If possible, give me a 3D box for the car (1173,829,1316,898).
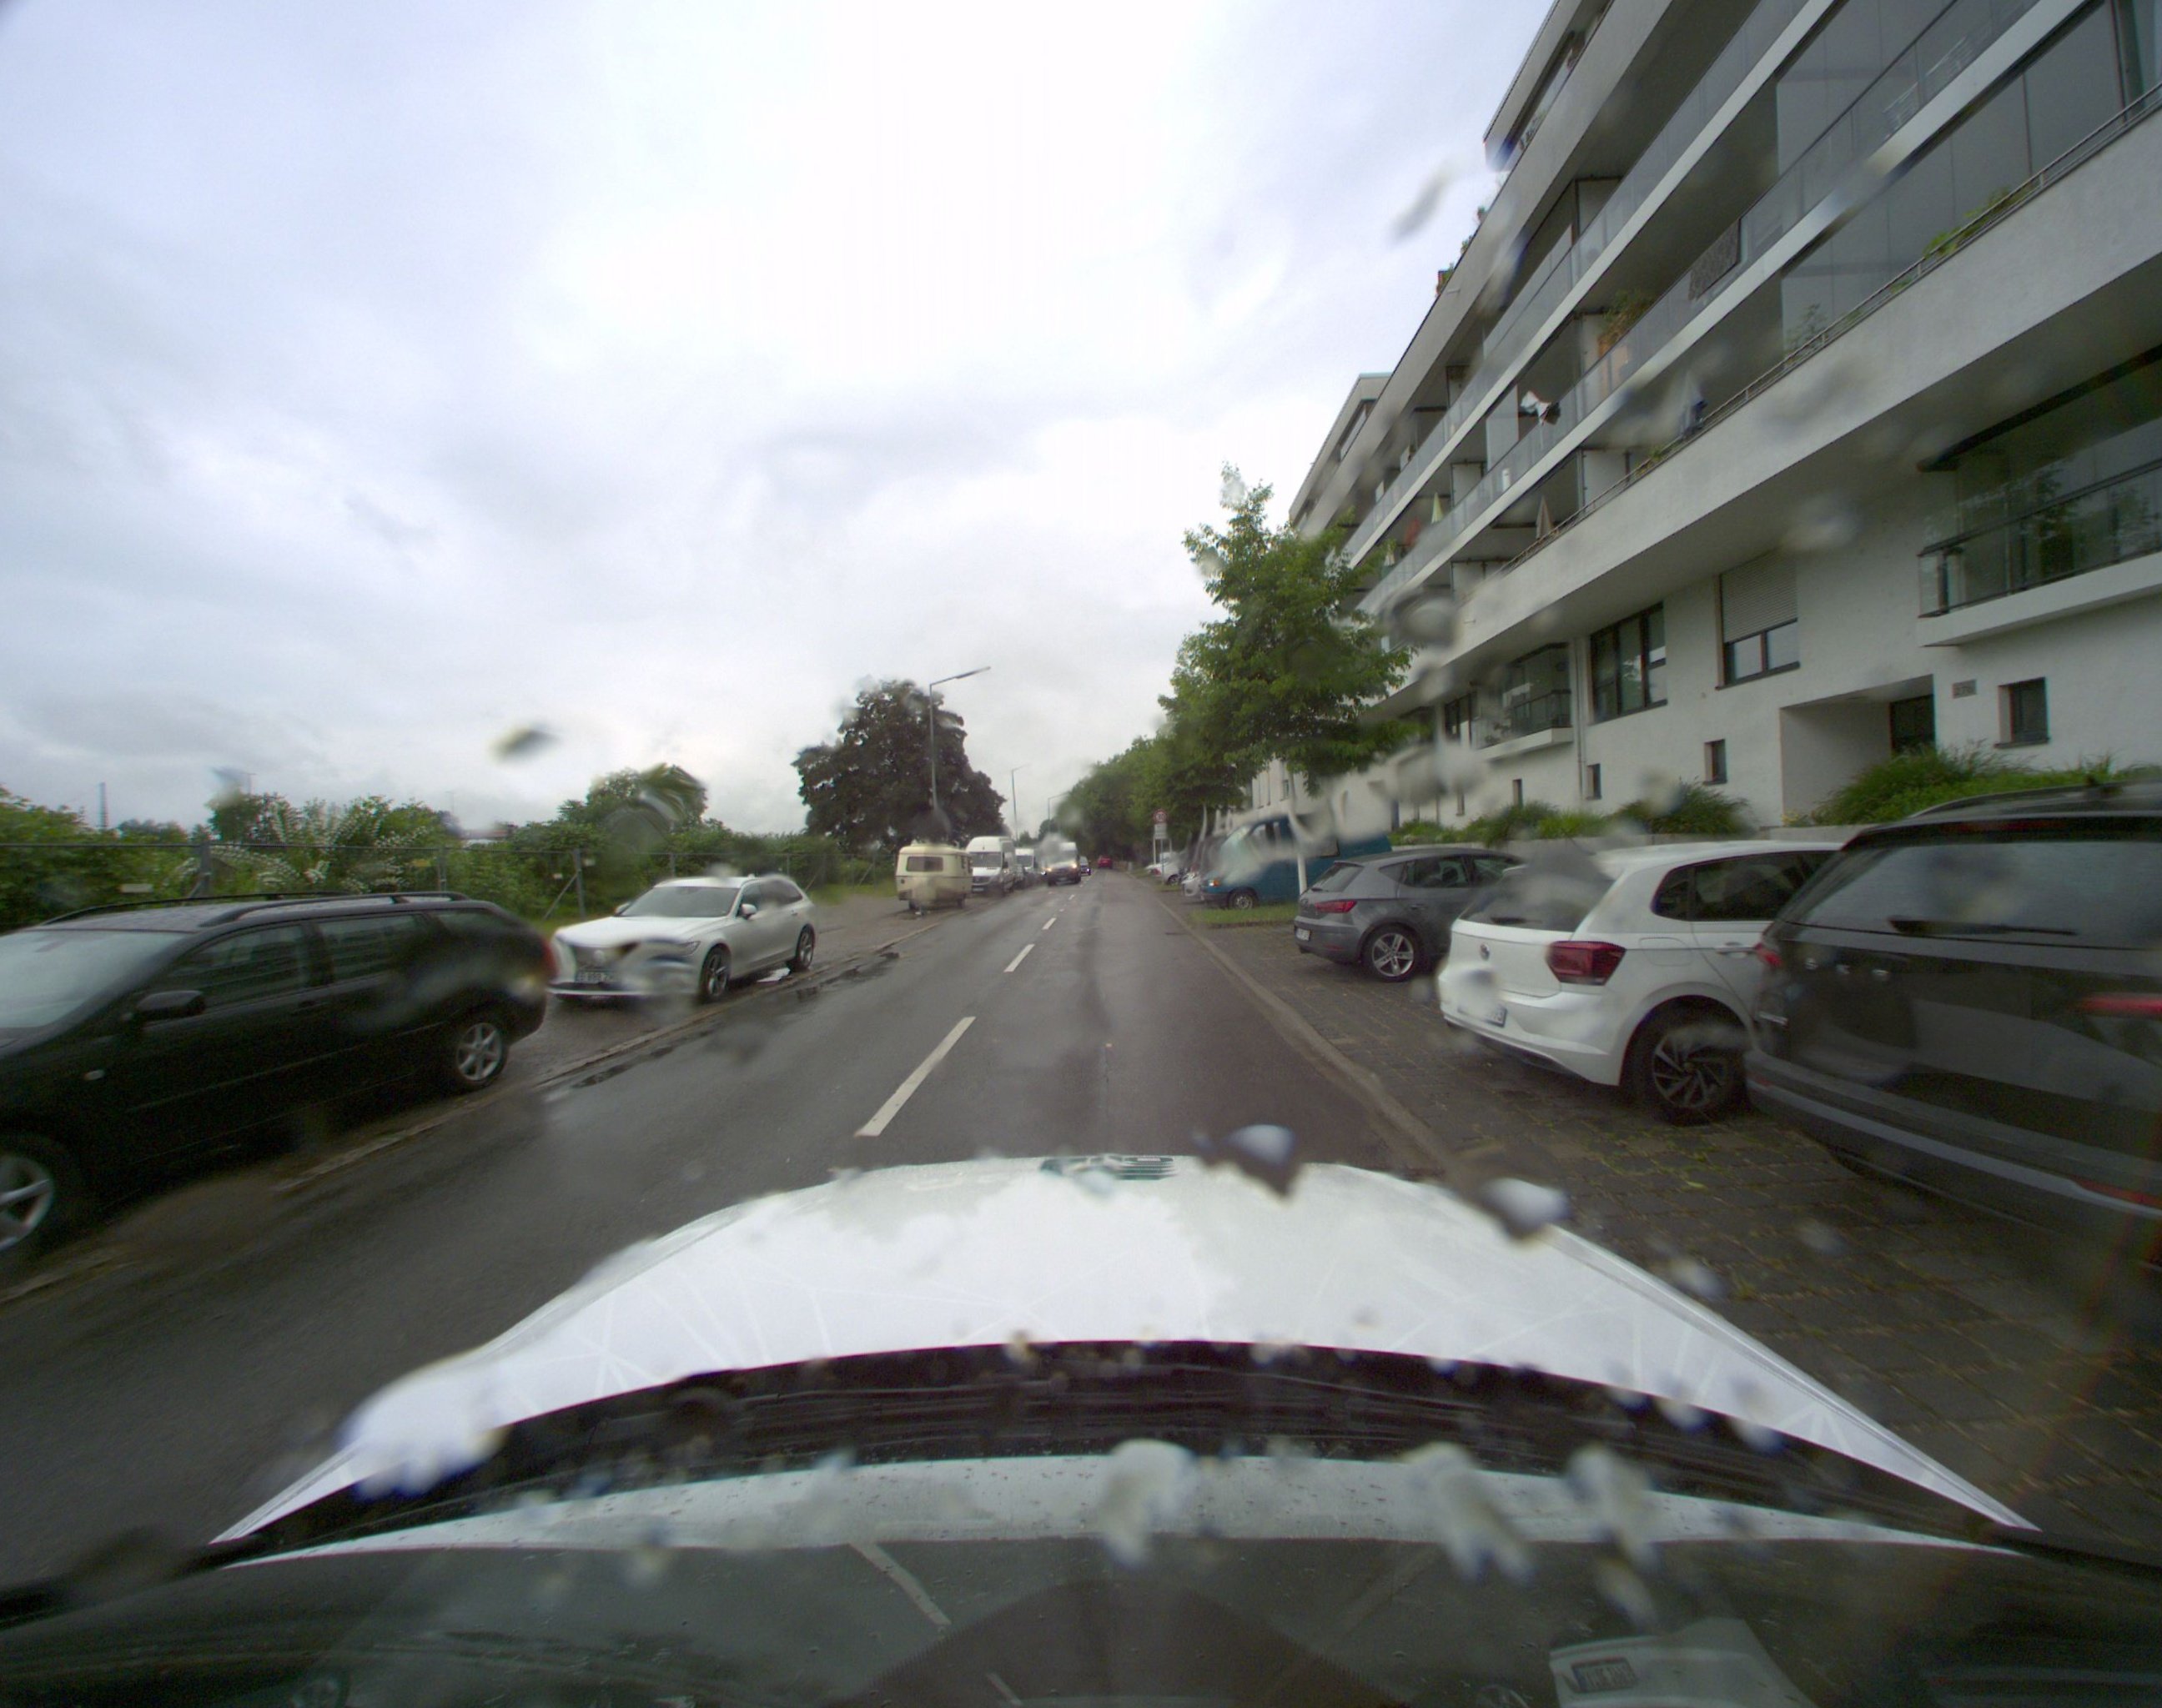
[{"bbox_3d":[5.023,0.286,25.429,4.077,1.894,1.728,-3,-1,2],"label":"car"}]

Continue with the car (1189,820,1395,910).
[{"bbox_3d":[5.158,0.272,20.296,4.607,2.019,1.856,-2,-1,-3],"label":"car"}]

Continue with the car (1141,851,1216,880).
[{"bbox_3d":[5.939,0.685,49.892,4.372,1.633,2.006,-2,-1,1],"label":"car"}]

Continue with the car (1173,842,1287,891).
[{"bbox_3d":[5.520,0.447,30.449,3.875,1.681,1.861,-1,-1,-4],"label":"car"}]

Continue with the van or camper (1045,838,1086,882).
[{"bbox_3d":[-0.880,0.363,51.272,1.985,2.497,7.182,-2,-1,3],"label":"van or camper"}]

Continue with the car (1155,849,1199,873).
[{"bbox_3d":[9.487,0.729,80.516,3.952,2.293,1.786,-1,-1,22],"label":"car"}]

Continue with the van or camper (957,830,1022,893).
[{"bbox_3d":[-4.325,0.381,39.801,1.986,2.762,7.902,0,-1,2],"label":"van or camper"}]

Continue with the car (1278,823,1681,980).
[{"bbox_3d":[4.623,0.527,9.823,4.019,1.499,1.630,-3,-1,-2],"label":"car"}]

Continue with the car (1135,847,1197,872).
[{"bbox_3d":[5.988,0.390,57.823,4.085,1.575,1.864,-2,-1,-6],"label":"car"}]

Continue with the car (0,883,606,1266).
[{"bbox_3d":[-5.384,1.002,5.123,1.767,1.503,4.830,1,-1,2],"label":"car"}]

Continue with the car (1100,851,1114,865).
[{"bbox_3d":[3.400,0.535,107.623,1.750,1.706,3.999,-2,-1,0],"label":"car"}]

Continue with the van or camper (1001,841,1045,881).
[{"bbox_3d":[-3.739,0.460,53.603,2.181,2.462,6.380,0,-1,2],"label":"van or camper"}]

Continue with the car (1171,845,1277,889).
[{"bbox_3d":[5.736,0.515,32.985,3.875,1.600,1.861,-2,-1,-4],"label":"car"}]

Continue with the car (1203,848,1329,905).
[{"bbox_3d":[5.169,0.624,22.941,3.244,1.482,1.317,-1,-1,0],"label":"car"}]

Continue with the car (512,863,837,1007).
[{"bbox_3d":[-5.207,0.912,11.451,1.880,1.526,5.110,1,-1,1],"label":"car"}]

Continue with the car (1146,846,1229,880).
[{"bbox_3d":[5.894,0.506,45.390,4.372,1.776,2.006,-2,-1,1],"label":"car"}]

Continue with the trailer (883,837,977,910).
[{"bbox_3d":[-4.956,0.617,27.585,2.052,2.218,5.794,0,-1,0],"label":"trailer"}]

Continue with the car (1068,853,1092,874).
[{"bbox_3d":[-0.044,0.820,72.276,1.874,1.758,4.071,-2,-1,3],"label":"car"}]

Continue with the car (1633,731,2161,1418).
[{"bbox_3d":[4.592,0.423,2.735,4.149,1.624,1.897,-3,-1,-1],"label":"car"}]

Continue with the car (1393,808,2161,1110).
[{"bbox_3d":[4.489,0.552,5.234,4.286,1.428,1.636,-3,-1,-1],"label":"car"}]
